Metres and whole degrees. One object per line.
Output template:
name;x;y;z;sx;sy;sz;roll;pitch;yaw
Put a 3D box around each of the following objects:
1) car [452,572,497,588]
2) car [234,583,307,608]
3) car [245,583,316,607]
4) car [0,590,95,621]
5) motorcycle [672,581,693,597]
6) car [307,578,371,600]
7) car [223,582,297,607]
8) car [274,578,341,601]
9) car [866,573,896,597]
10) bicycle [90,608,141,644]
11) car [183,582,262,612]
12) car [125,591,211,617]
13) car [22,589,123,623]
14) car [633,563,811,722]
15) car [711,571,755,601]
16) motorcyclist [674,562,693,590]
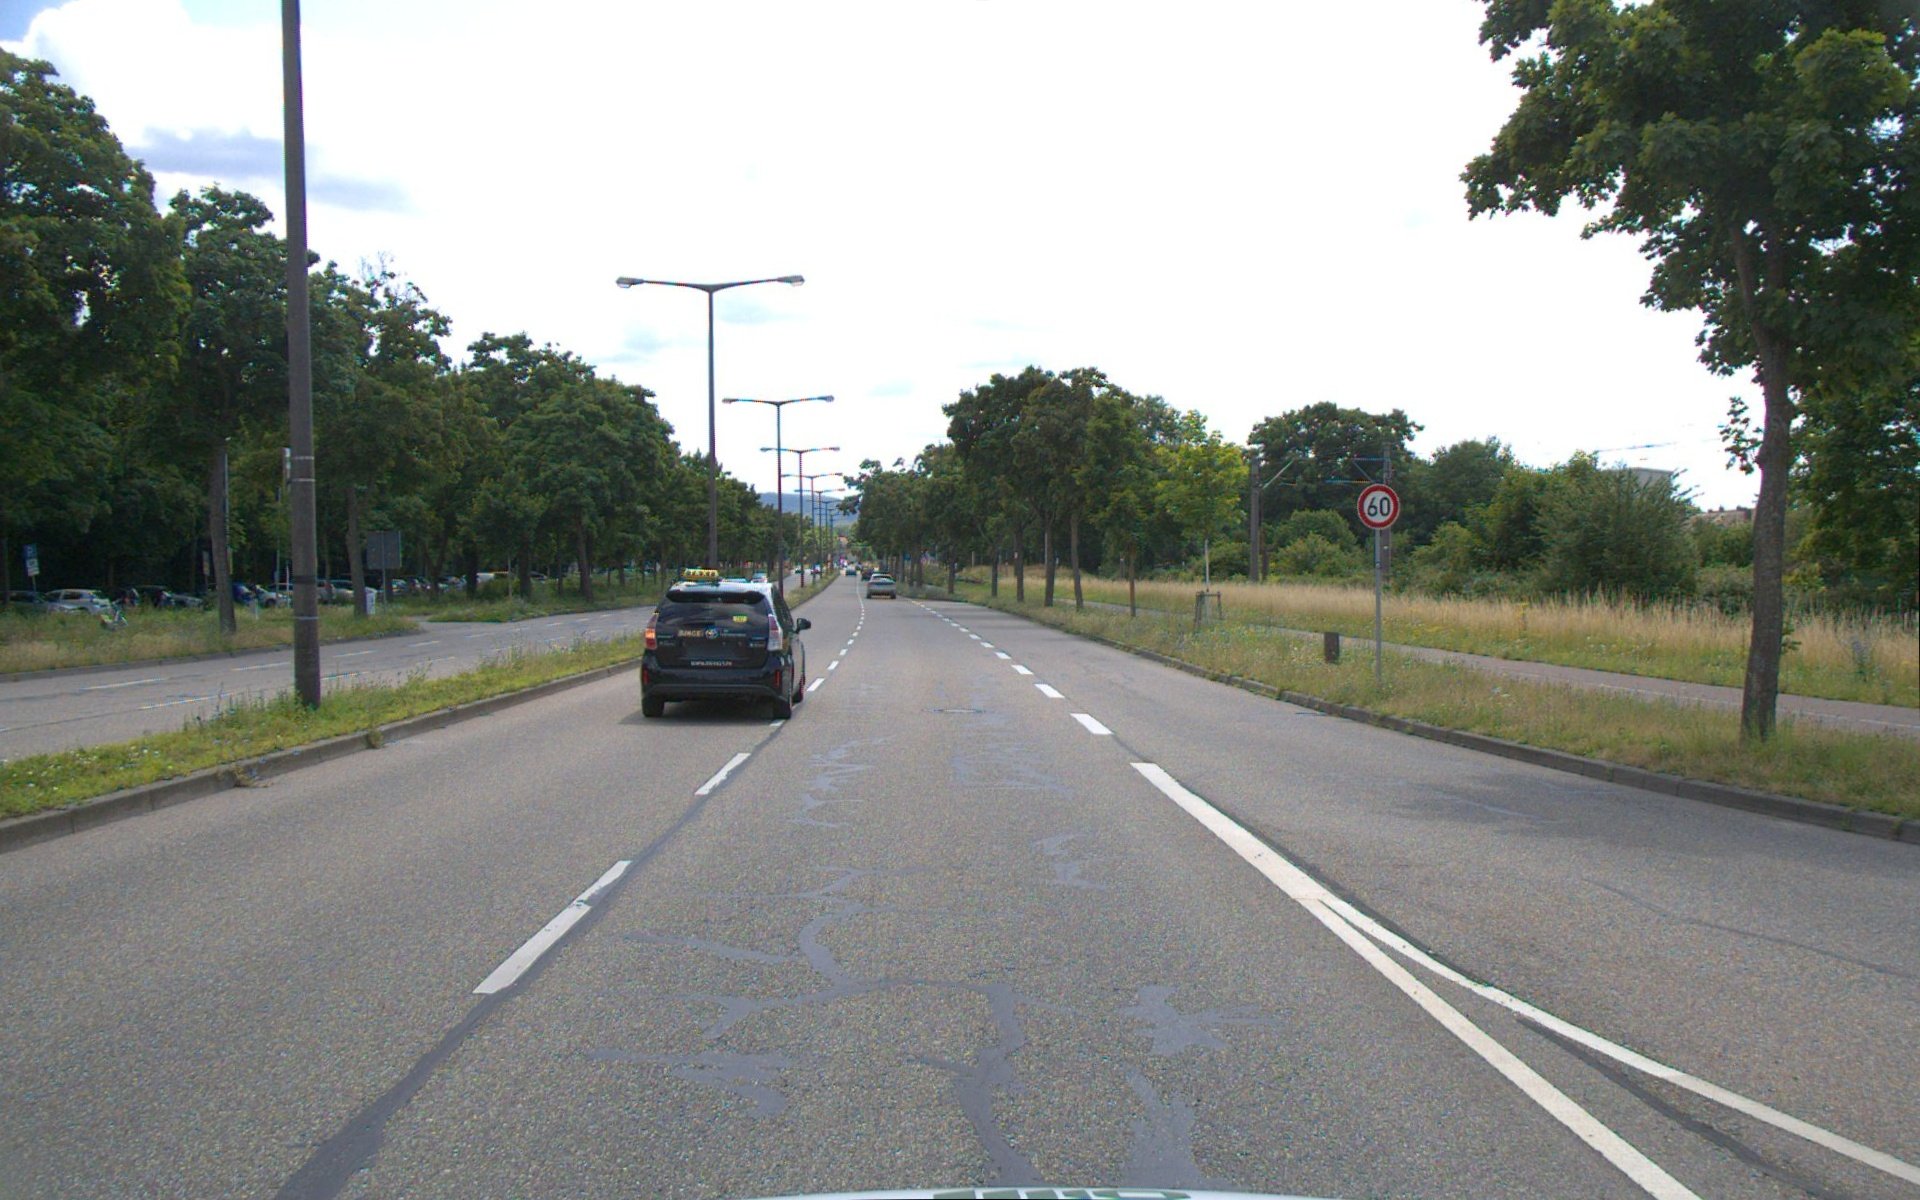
car;-45.951;-1.870;156.691;3.707;1.412;1.786;1;1;1
car;-42.762;-0.271;102.612;3.707;1.412;1.786;1;1;1
car;-42.946;-0.317;104.619;3.707;1.412;1.786;1;1;1
car;-41.299;0.242;74.506;3.708;1.269;1.785;1;1;-2
motorcycle;-14.875;-0.582;88.737;0.736;0.785;2.671;1;2;-2
car;-42.870;-0.751;114.188;3.707;1.412;1.786;1;1;1
car;-42.567;-0.338;100.589;3.707;1.412;1.786;1;1;1
car;-43.447;-0.693;110.152;3.707;1.412;1.786;1;1;1
car;-5.419;-1.070;113.033;1.954;1.534;3.997;1;2;-4
bicycle;-24.440;0.741;47.911;0.555;0.995;1.917;-1;1;-3
car;-42.276;-0.181;94.824;3.707;1.595;1.786;1;1;1
car;-41.772;0.198;87.285;3.709;1.269;1.785;1;1;-3
car;-41.304;0.285;77.006;3.709;1.453;1.785;1;1;-3
car;-2.815;0.427;20.327;1.744;1.713;3.999;1;2;-2
car;-11.563;-0.739;84.601;1.774;1.422;4.732;-1;2;-3
motorcyclist;-14.832;-1.301;88.704;0.810;1.438;1.328;1;1;-3
